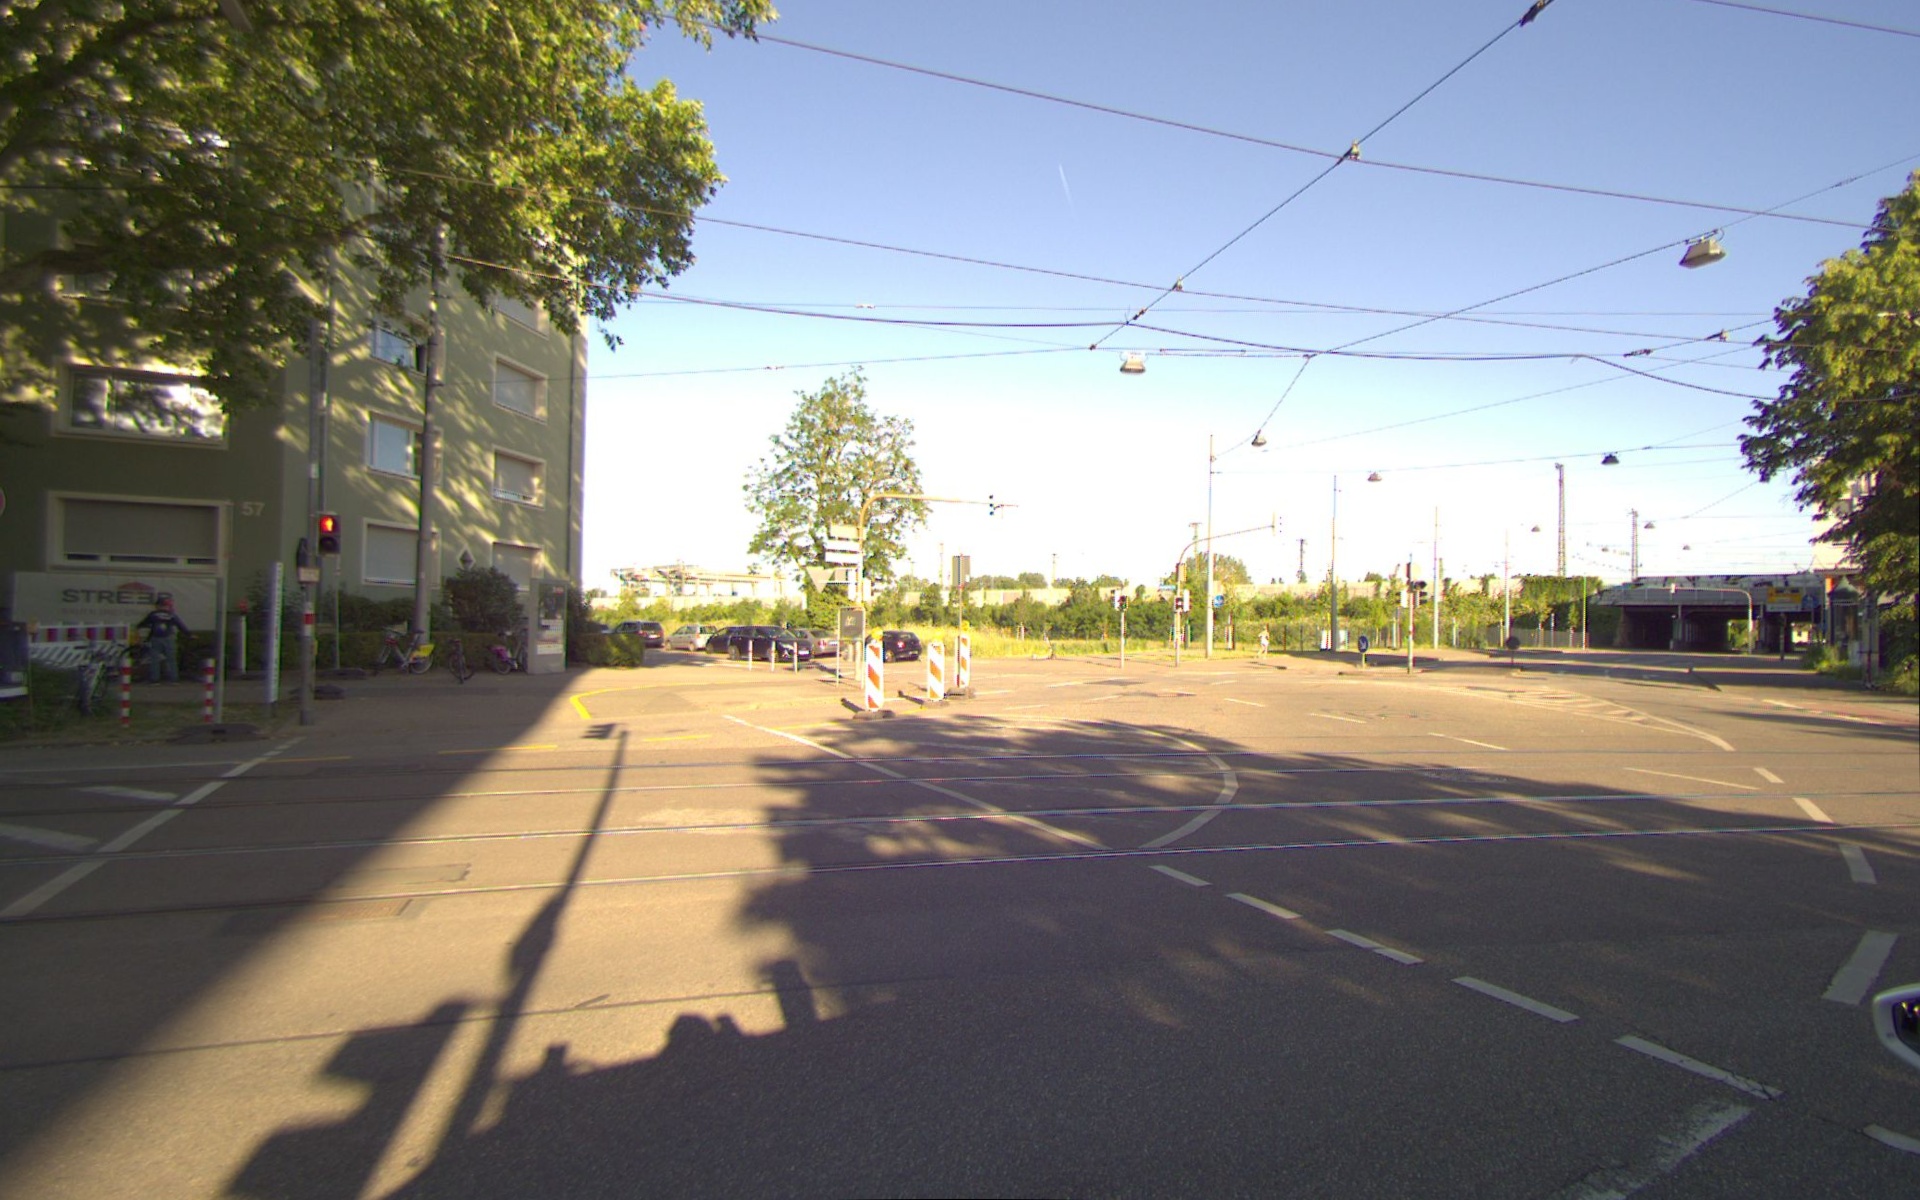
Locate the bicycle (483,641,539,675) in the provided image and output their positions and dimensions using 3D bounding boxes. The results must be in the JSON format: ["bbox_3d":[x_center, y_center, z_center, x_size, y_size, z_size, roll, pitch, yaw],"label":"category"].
[{"bbox_3d":[-10.992,1.417,24.639,0.351,0.769,1.782,1,-1,8],"label":"bicycle"}]

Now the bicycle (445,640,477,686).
[{"bbox_3d":[-10.662,1.327,21.457,0.355,0.900,1.763,1,-2,-34],"label":"bicycle"}]

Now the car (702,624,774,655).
[{"bbox_3d":[-12.249,2.151,55.345,3.941,1.439,1.884,0,5,41],"label":"car"}]

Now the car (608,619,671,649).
[{"bbox_3d":[-19.896,2.071,62.265,3.941,1.590,1.884,0,5,41],"label":"car"}]

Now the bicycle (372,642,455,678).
[{"bbox_3d":[-12.299,1.342,22.663,0.351,0.769,1.779,0,-1,24],"label":"bicycle"}]

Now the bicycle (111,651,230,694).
[{"bbox_3d":[-15.279,1.381,19.493,0.353,0.769,1.772,0,-2,39],"label":"bicycle"}]

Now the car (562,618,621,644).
[{"bbox_3d":[-24.257,2.029,66.117,3.941,1.439,1.884,0,5,41],"label":"car"}]

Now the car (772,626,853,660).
[{"bbox_3d":[-7.517,2.150,50.996,3.941,1.439,1.884,0,5,41],"label":"car"}]

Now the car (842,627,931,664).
[{"bbox_3d":[-3.453,2.095,46.995,3.941,1.439,1.884,0,5,41],"label":"car"}]

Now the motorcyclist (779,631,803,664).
[{"bbox_3d":[-7.723,2.182,45.982,0.782,1.452,0.712,2,-1,36],"label":"motorcyclist"}]

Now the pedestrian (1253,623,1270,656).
[{"bbox_3d":[15.133,1.999,50.411,0.592,1.617,0.681,1,-1,41],"label":"pedestrian"}]

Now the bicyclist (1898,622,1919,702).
[{"bbox_3d":[19.099,1.201,19.635,0.828,1.530,1.366,0,-2,31],"label":"bicyclist"}]

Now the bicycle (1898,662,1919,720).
[{"bbox_3d":[19.020,1.784,19.560,0.657,1.073,2.078,0,-2,30],"label":"bicycle"}]

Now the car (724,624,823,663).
[{"bbox_3d":[-7.666,1.738,41.093,3.941,1.439,1.990,0,0,41],"label":"car"}]

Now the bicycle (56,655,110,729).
[{"bbox_3d":[-11.889,1.225,13.637,0.355,0.900,1.558,1,-2,-34],"label":"bicycle"}]

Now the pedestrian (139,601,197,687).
[{"bbox_3d":[-15.014,0.834,19.049,0.593,1.589,0.739,0,-1,40],"label":"pedestrian"}]

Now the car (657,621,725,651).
[{"bbox_3d":[-15.660,2.078,58.347,3.941,1.439,1.884,0,5,41],"label":"car"}]
